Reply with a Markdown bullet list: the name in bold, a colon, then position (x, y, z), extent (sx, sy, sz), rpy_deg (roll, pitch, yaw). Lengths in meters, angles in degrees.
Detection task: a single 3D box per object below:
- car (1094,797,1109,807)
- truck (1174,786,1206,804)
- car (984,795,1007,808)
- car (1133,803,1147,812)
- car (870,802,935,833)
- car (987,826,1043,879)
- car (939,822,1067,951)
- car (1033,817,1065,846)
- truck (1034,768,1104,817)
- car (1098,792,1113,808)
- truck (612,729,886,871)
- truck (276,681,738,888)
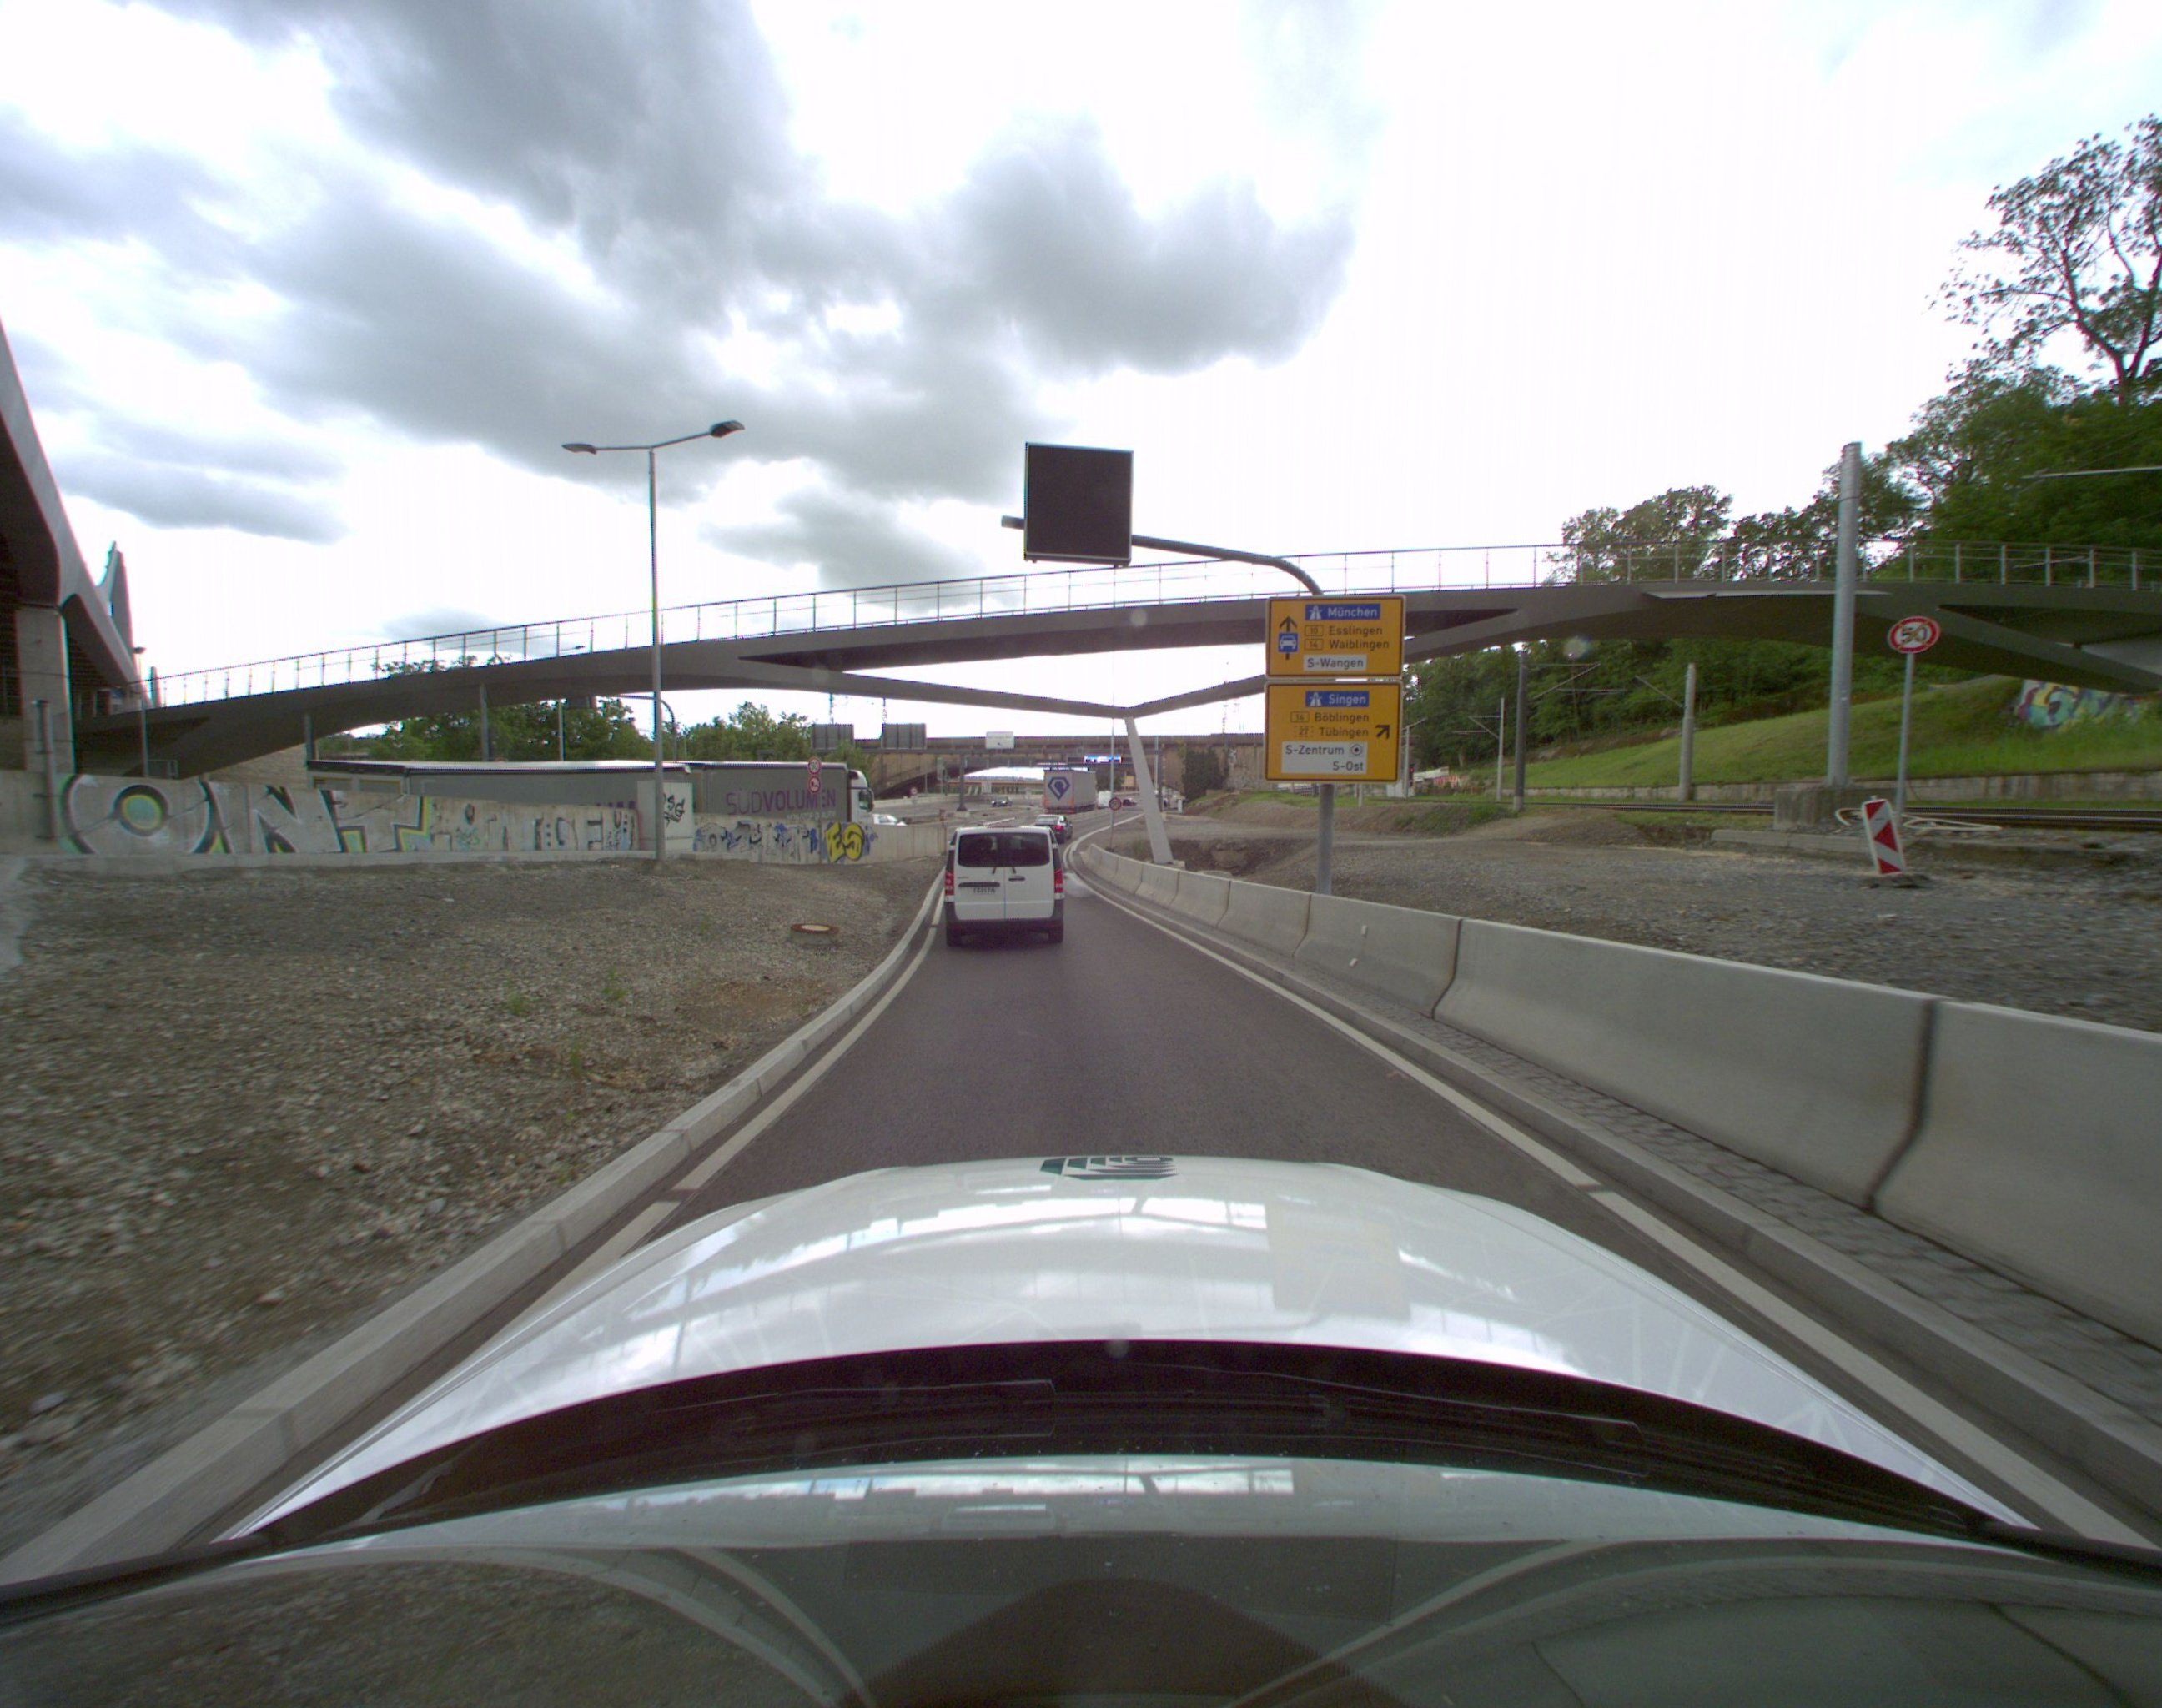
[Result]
- **car**: position (3.276, -8.338, 130.748), extent (1.635, 1.620, 4.013), rpy_deg (2, 3, 11)
- **truck**: position (22.778, -12.237, 170.089), extent (3.363, 3.148, 7.302), rpy_deg (5, 3, 34)
- **car**: position (-10.855, -6.711, 104.092), extent (1.808, 1.452, 4.013), rpy_deg (2, 2, 11)
- **car**: position (11.193, -8.776, 154.074), extent (1.624, 1.584, 3.986), rpy_deg (1, 3, -11)
- **car**: position (-9.604, -1.956, 44.208), extent (1.981, 1.551, 4.013), rpy_deg (2, 2, 11)
- **car**: position (-2.203, -0.127, 27.998), extent (1.745, 1.625, 3.842), rpy_deg (2, 2, -3)
- **car**: position (-1.282, 0.424, 14.405), extent (1.872, 1.890, 4.748), rpy_deg (-1, 1, -3)
- **car**: position (-1.673, -1.207, 43.322), extent (1.496, 1.468, 3.399), rpy_deg (1, 2, 0)
- **truck**: position (-0.767, -5.663, 74.501), extent (3.297, 3.807, 16.645), rpy_deg (3, 5, 9)
- **car**: position (3.462, -7.554, 113.731), extent (1.889, 2.115, 4.492), rpy_deg (2, 3, 4)
- **truck**: position (-11.255, -1.755, 29.702), extent (2.966, 4.175, 11.287), rpy_deg (2, 2, 15)
- **truck**: position (-13.573, -1.504, 21.094), extent (2.896, 4.016, 10.242), rpy_deg (2, 2, 15)
